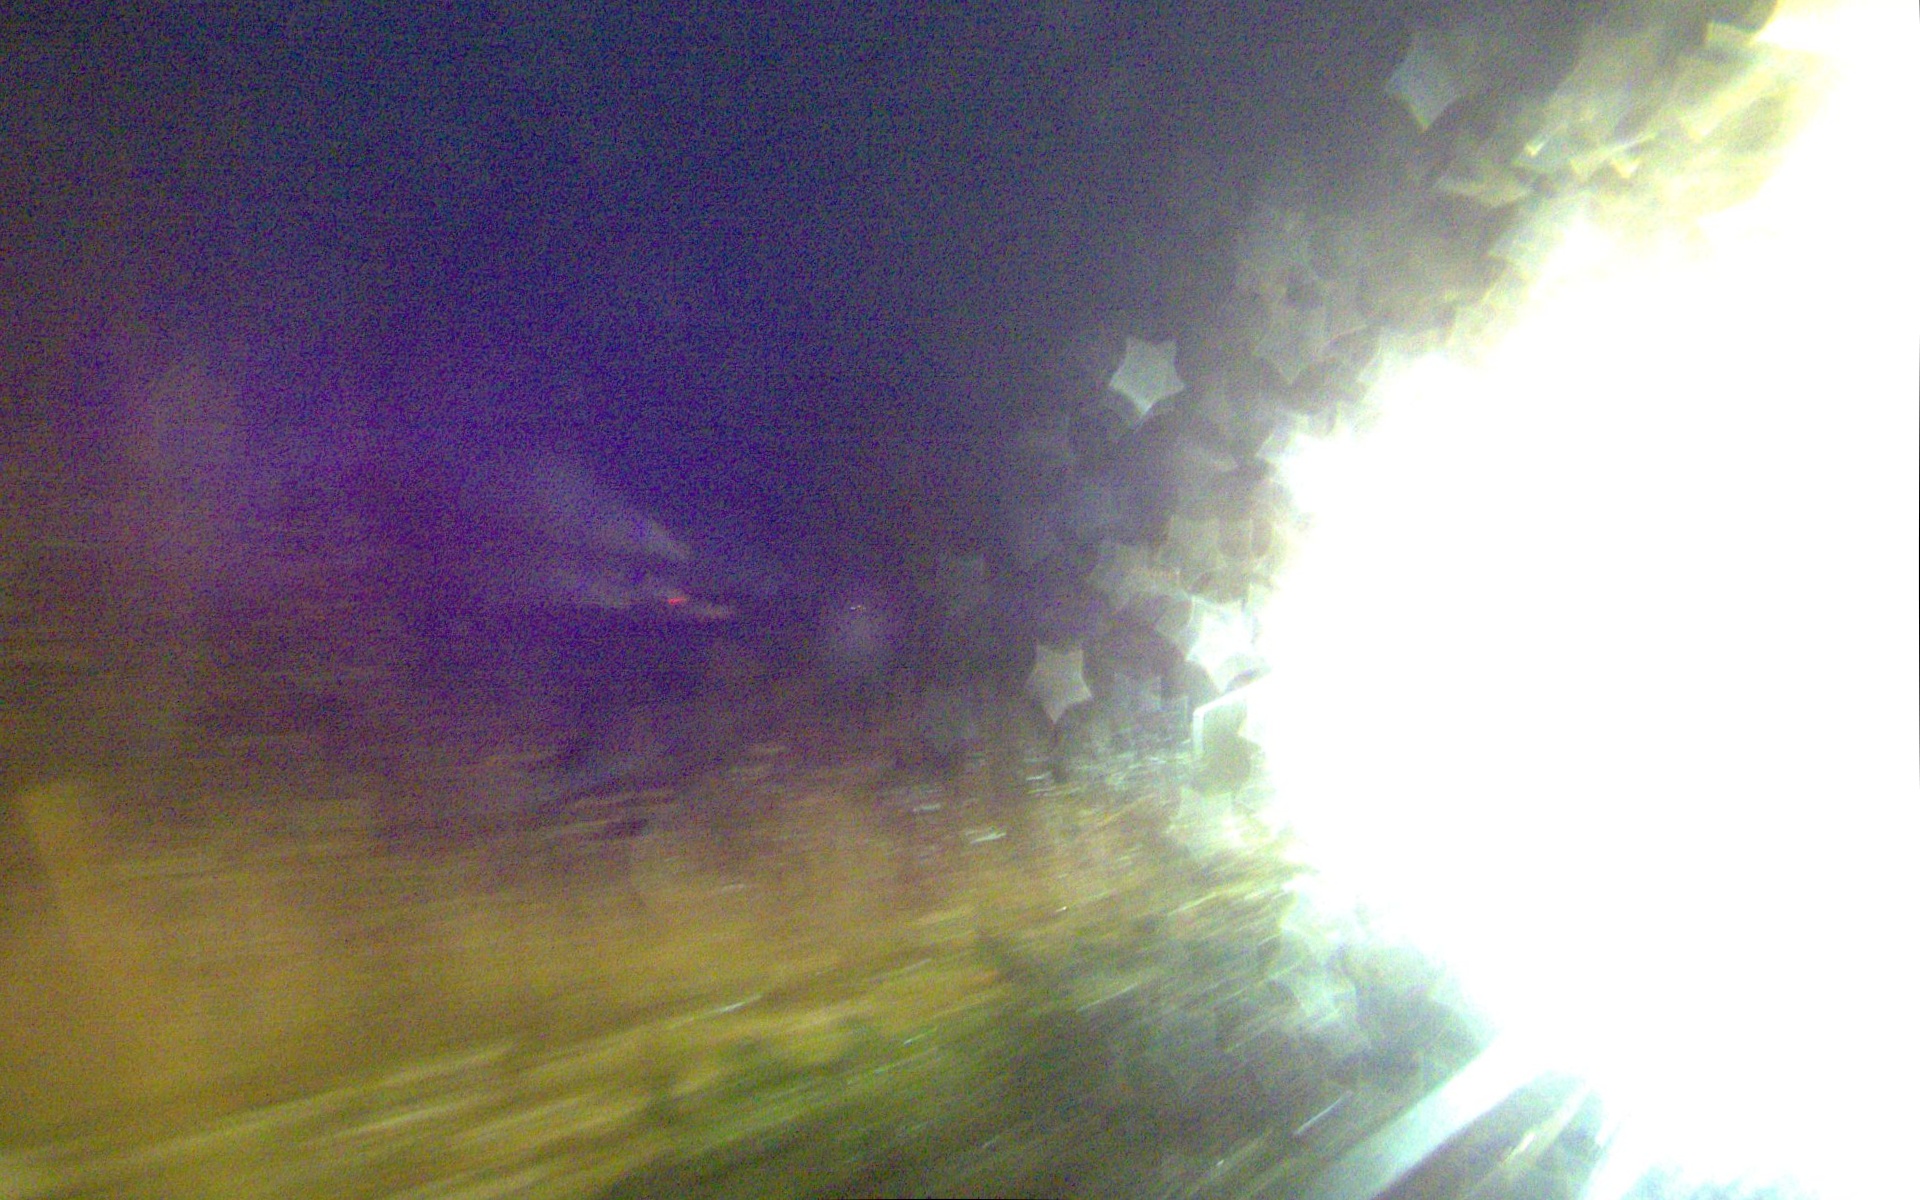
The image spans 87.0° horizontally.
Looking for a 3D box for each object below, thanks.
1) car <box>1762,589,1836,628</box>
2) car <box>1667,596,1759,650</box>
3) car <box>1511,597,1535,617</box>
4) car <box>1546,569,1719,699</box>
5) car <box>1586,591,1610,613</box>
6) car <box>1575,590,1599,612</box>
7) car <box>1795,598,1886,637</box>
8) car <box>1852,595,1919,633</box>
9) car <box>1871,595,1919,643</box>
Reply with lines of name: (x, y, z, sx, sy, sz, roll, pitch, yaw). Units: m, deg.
car: (38.747, 0.385, 46.841, 1.747, 1.747, 3.866, 0, 0, 26)
car: (25.263, 0.716, 34.095, 1.814, 1.670, 4.097, 0, 1, 27)
car: (53.109, 0.652, 95.442, 1.941, 1.653, 4.217, 0, 2, 29)
car: (12.085, 0.539, 18.498, 1.985, 1.950, 4.327, -7, -2, 28)
car: (58.691, 0.186, 93.138, 1.653, 1.877, 4.105, 0, 2, 29)
car: (61.850, 0.061, 99.836, 1.778, 2.049, 4.105, 0, 2, 29)
car: (35.909, 0.659, 41.386, 1.765, 1.503, 4.370, 0, 0, 27)
car: (41.765, 0.597, 45.368, 1.701, 1.505, 4.021, 0, 2, 27)
car: (33.299, 0.641, 34.734, 1.800, 1.597, 4.268, 1, 1, 25)
